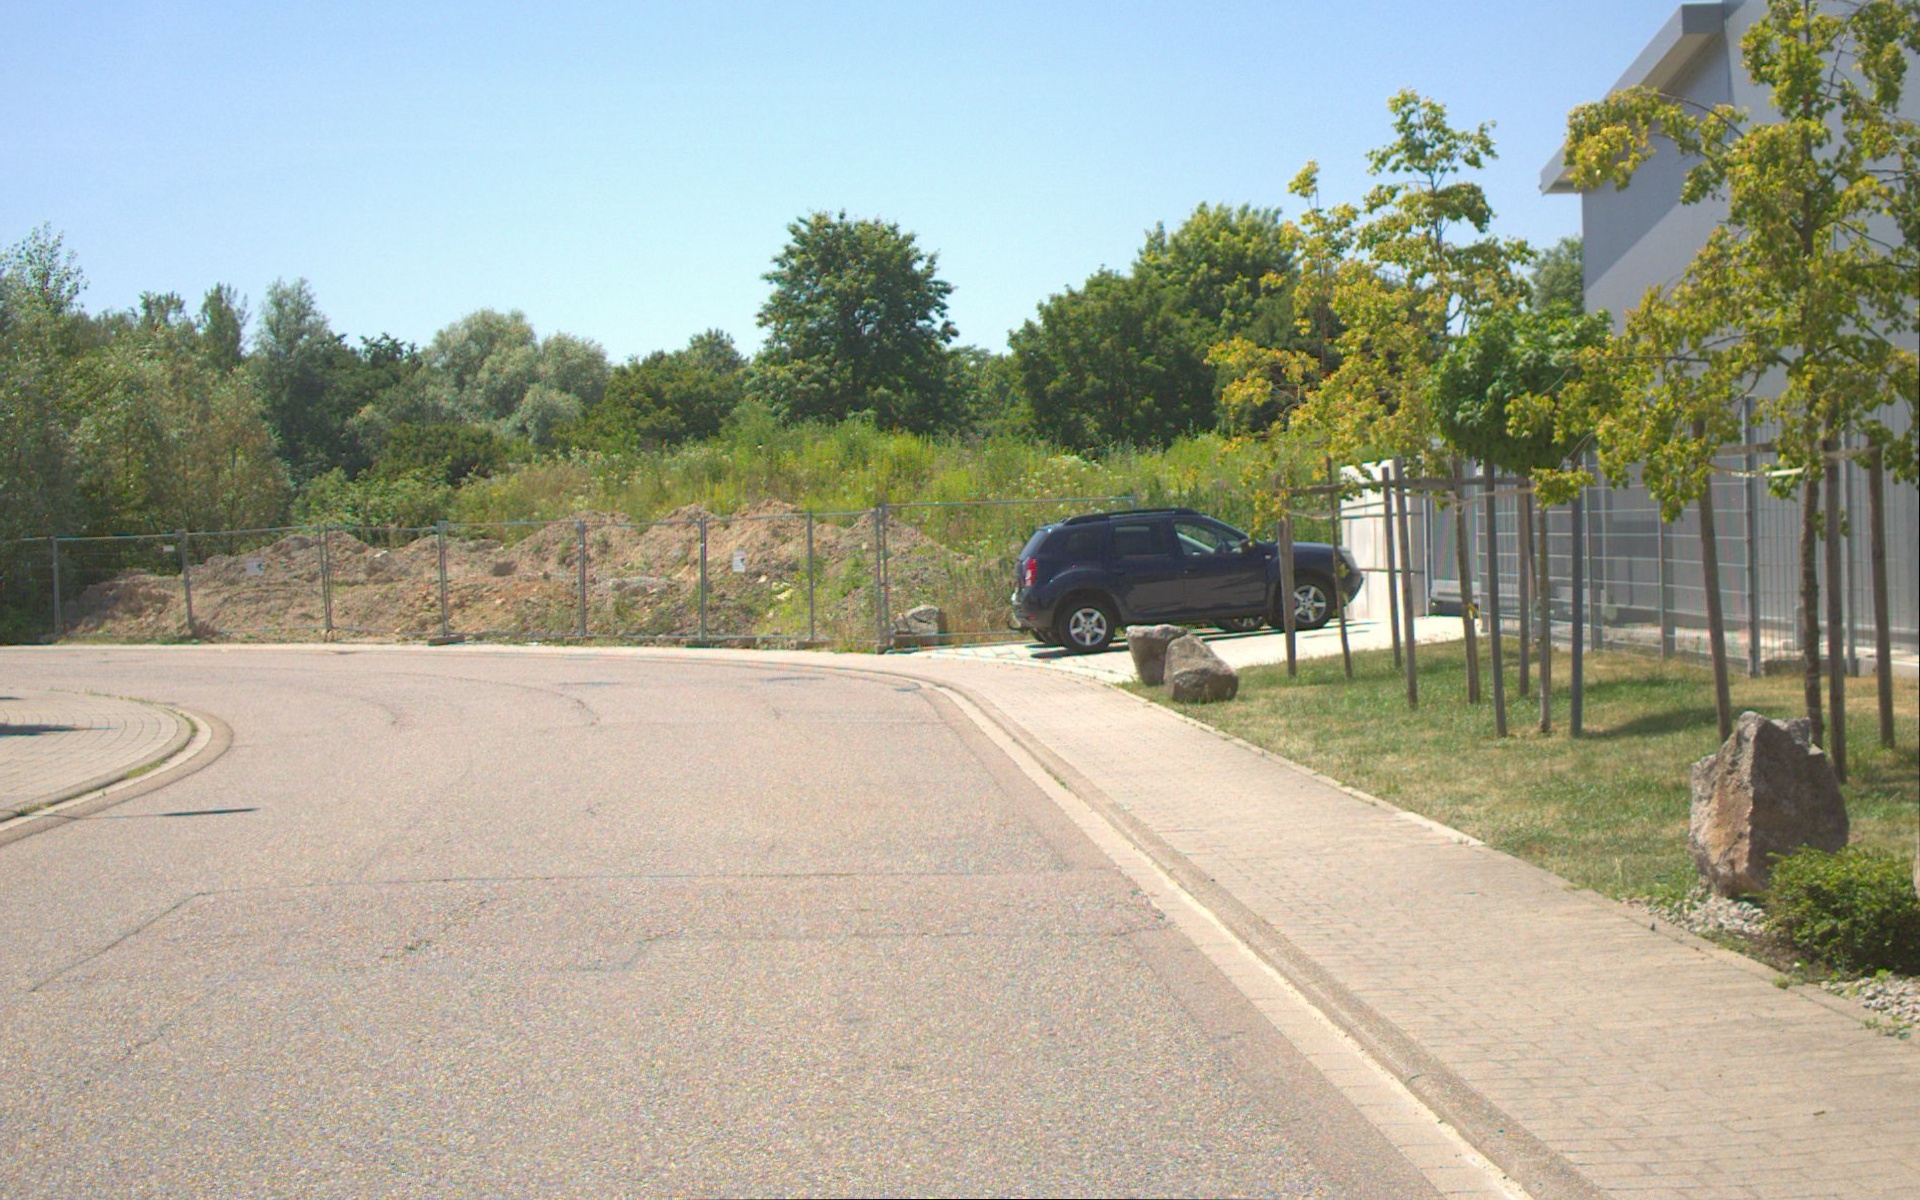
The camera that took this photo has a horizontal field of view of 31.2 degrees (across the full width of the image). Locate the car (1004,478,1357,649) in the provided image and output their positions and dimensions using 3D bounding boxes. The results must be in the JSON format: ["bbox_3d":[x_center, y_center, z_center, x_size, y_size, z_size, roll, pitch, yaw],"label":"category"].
[{"bbox_3d":[2.673,-0.463,42.304,4.009,1.649,1.858,-6,2,-3],"label":"car"}]

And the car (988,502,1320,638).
[{"bbox_3d":[2.470,-0.405,44.481,4.009,1.457,1.893,-4,1,-3],"label":"car"}]
